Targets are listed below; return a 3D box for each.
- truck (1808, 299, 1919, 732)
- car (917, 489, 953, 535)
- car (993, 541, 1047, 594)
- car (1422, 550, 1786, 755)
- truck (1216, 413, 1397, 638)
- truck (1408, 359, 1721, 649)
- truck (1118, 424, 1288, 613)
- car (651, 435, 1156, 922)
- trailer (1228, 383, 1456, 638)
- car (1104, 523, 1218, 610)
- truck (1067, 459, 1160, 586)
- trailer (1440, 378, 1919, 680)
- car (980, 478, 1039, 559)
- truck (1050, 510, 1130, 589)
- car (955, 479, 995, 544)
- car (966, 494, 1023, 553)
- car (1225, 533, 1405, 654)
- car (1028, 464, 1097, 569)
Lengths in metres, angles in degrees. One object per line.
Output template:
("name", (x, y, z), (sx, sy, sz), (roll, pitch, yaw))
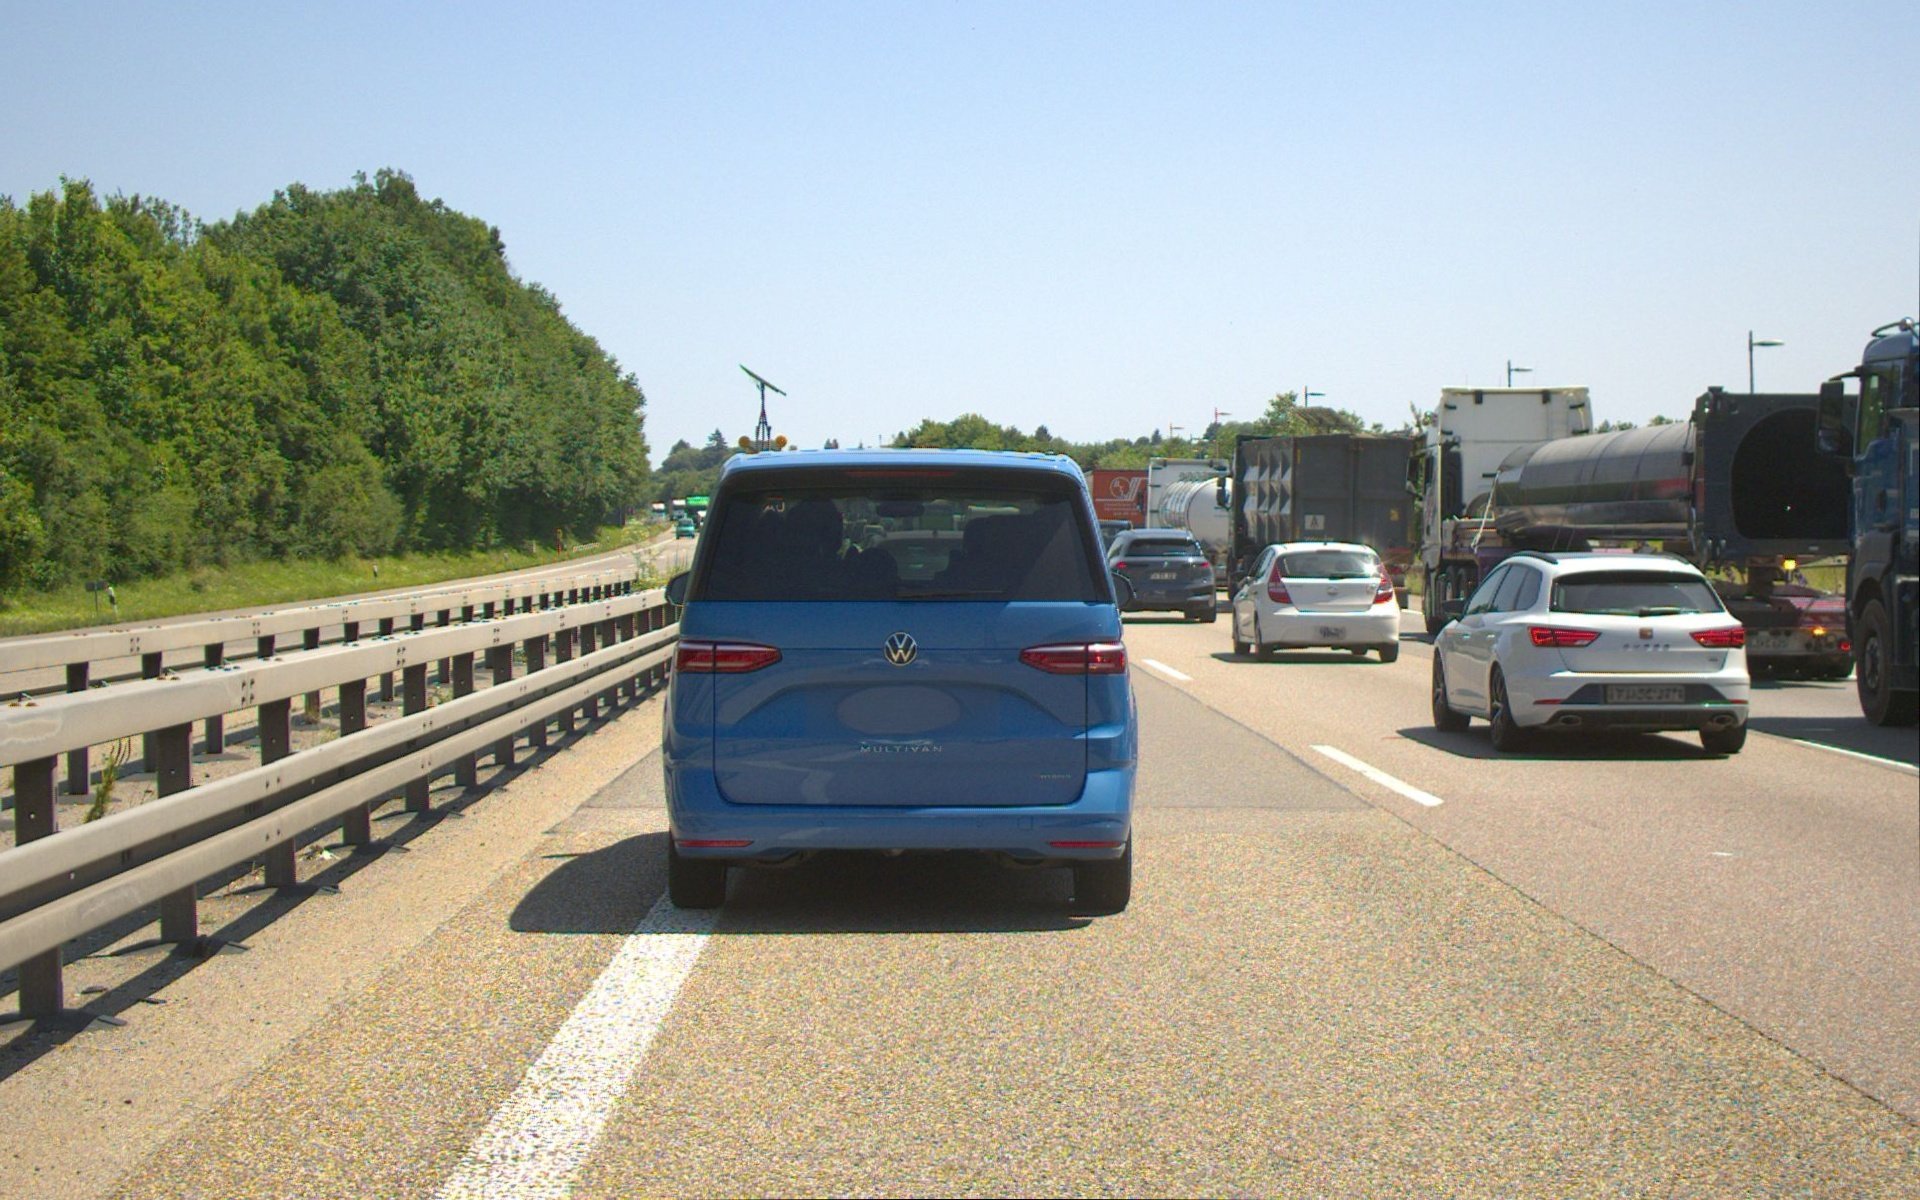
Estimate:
("truck", (8.689, -0.626, 25.914), (2.743, 3.300, 7.132), (1, 0, 0))
("car", (-1.800, -6.408, 250.682), (2.486, 3.193, 7.372), (1, 0, 0))
("car", (2.349, -1.275, 135.602), (1.993, 2.007, 4.000), (1, 0, -1))
("car", (4.647, 0.329, 25.384), (1.867, 1.356, 4.000), (1, 1, -1))
("truck", (8.243, -1.750, 82.568), (3.658, 5.162, 5.709), (1, 0, 0))
("truck", (9.078, -1.387, 52.601), (3.626, 4.080, 7.524), (1, 0, 2))
("truck", (7.107, -2.320, 103.291), (3.621, 5.195, 15.690), (1, 0, -1))
("car", (-0.190, 0.287, 15.107), (1.901, 1.831, 4.000), (1, 0, 1))
("trailer", (8.246, -1.859, 76.176), (3.646, 5.119, 13.075), (1, 0, 0))
("car", (3.646, -0.606, 62.997), (1.781, 1.519, 4.000), (1, 0, -1))
("truck", (6.145, -3.059, 139.191), (3.068, 4.903, 10.691), (1, 0, -1))
("trailer", (8.810, -0.776, 43.344), (3.646, 3.068, 15.771), (1, 0, 1))
("car", (3.284, -5.433, 230.181), (3.218, 5.239, 8.145), (1, 0, -4))
("truck", (3.146, -1.218, 83.691), (1.725, 1.851, 4.000), (1, 0, -1))
("car", (1.099, -6.648, 260.657), (2.716, 4.697, 11.561), (1, 0, -1))
("car", (1.605, -3.591, 162.592), (2.550, 2.708, 5.621), (1, 0, -1))
("car", (4.469, -0.089, 43.777), (1.840, 1.449, 4.000), (1, 0, 0))
("car", (5.262, -4.269, 178.497), (3.218, 5.239, 8.144), (1, 0, 0))
